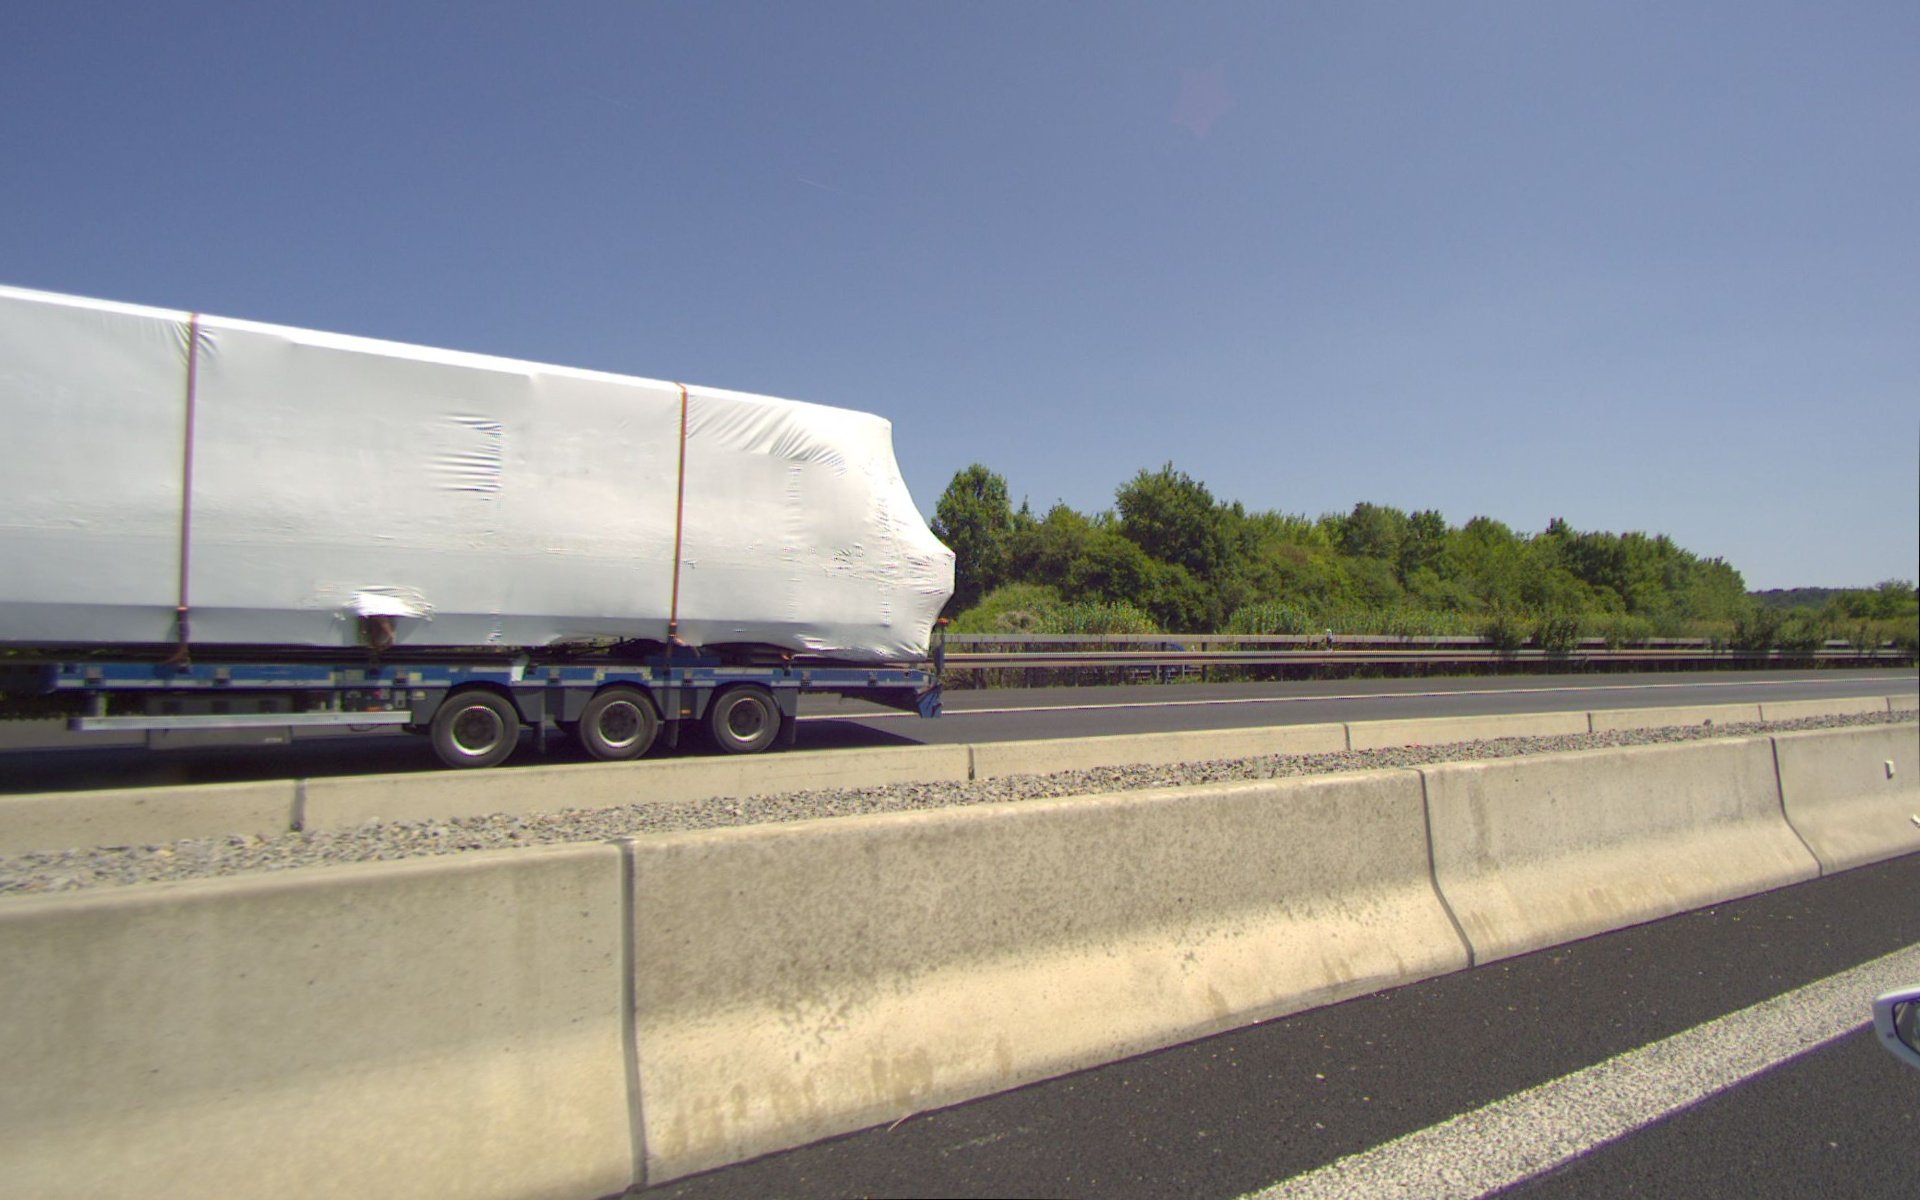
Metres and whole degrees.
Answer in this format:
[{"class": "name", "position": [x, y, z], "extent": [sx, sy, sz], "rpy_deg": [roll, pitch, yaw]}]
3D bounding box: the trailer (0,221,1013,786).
[{"class": "trailer", "position": [-5.498, -0.652, 10.475], "extent": [12.674, 4.369, 2.705], "rpy_deg": [2, -1, -31]}]

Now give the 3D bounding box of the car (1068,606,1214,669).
[{"class": "car", "position": [5.728, 1.185, 31.684], "extent": [4.381, 1.882, 1.983], "rpy_deg": [1, -2, -32]}]
